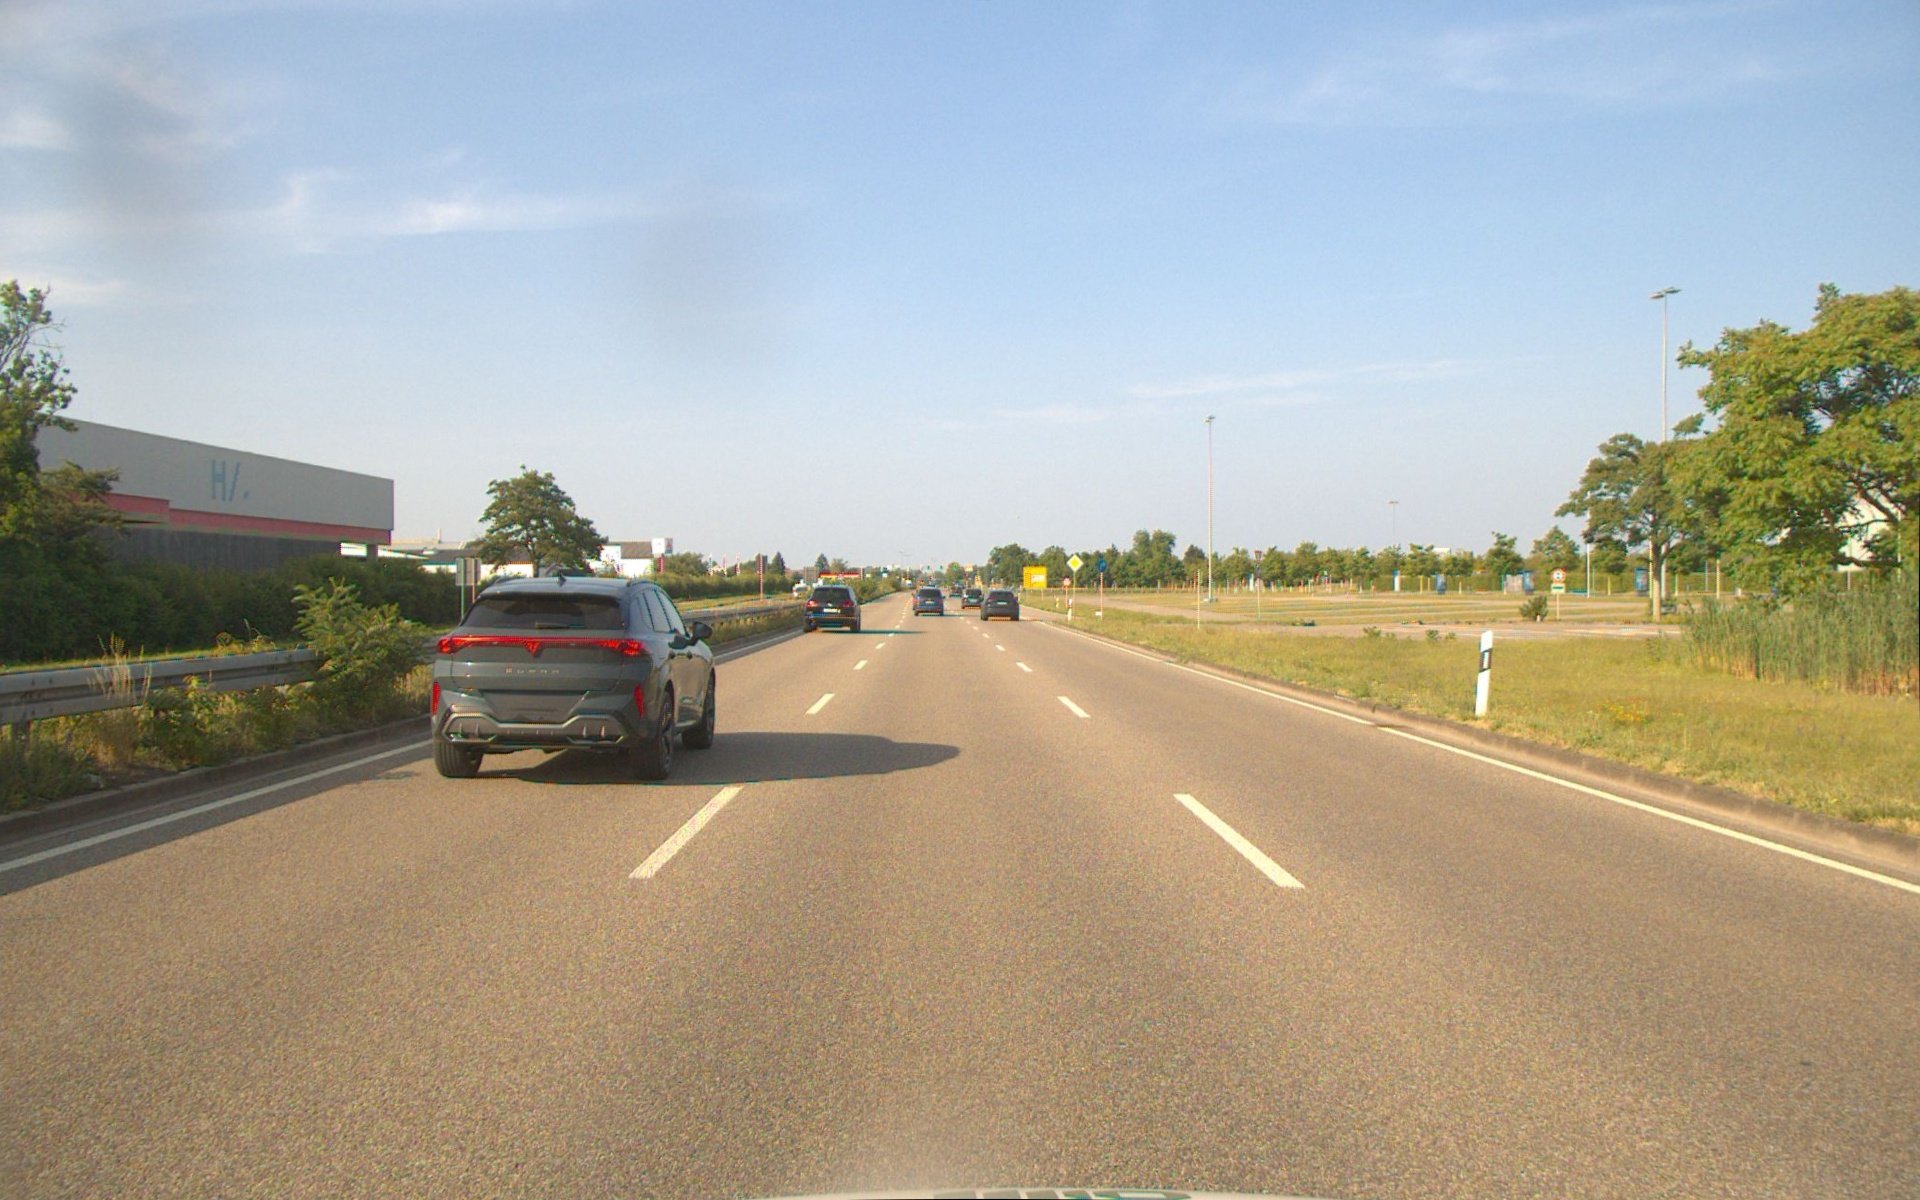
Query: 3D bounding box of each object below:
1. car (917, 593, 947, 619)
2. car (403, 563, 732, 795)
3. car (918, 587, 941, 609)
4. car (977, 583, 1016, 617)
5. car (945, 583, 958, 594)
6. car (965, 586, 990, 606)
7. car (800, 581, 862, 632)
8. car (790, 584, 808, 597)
[{"bbox_3d":[-1.703,0.338,100.533,1.776,1.488,4.400,2,1,-1],"label":"car"},{"bbox_3d":[-3.178,0.557,14.324,1.808,1.640,4.400,2,1,-1],"label":"car"},{"bbox_3d":[-2.232,-0.164,122.171,1.614,1.488,3.980,2,1,-1],"label":"car"},{"bbox_3d":[1.943,-0.024,88.726,1.893,1.709,4.400,2,1,-1],"label":"car"},{"bbox_3d":[-1.044,-1.390,205.441,1.472,1.336,3.155,2,1,-1],"label":"car"},{"bbox_3d":[1.364,-0.350,131.301,1.835,1.488,3.980,2,1,-1],"label":"car"},{"bbox_3d":[-4.628,0.216,59.964,1.893,1.709,4.400,2,1,-1],"label":"car"},{"bbox_3d":[-18.156,-1.108,186.775,1.743,1.449,4.000,-1,0,-1],"label":"car"}]
